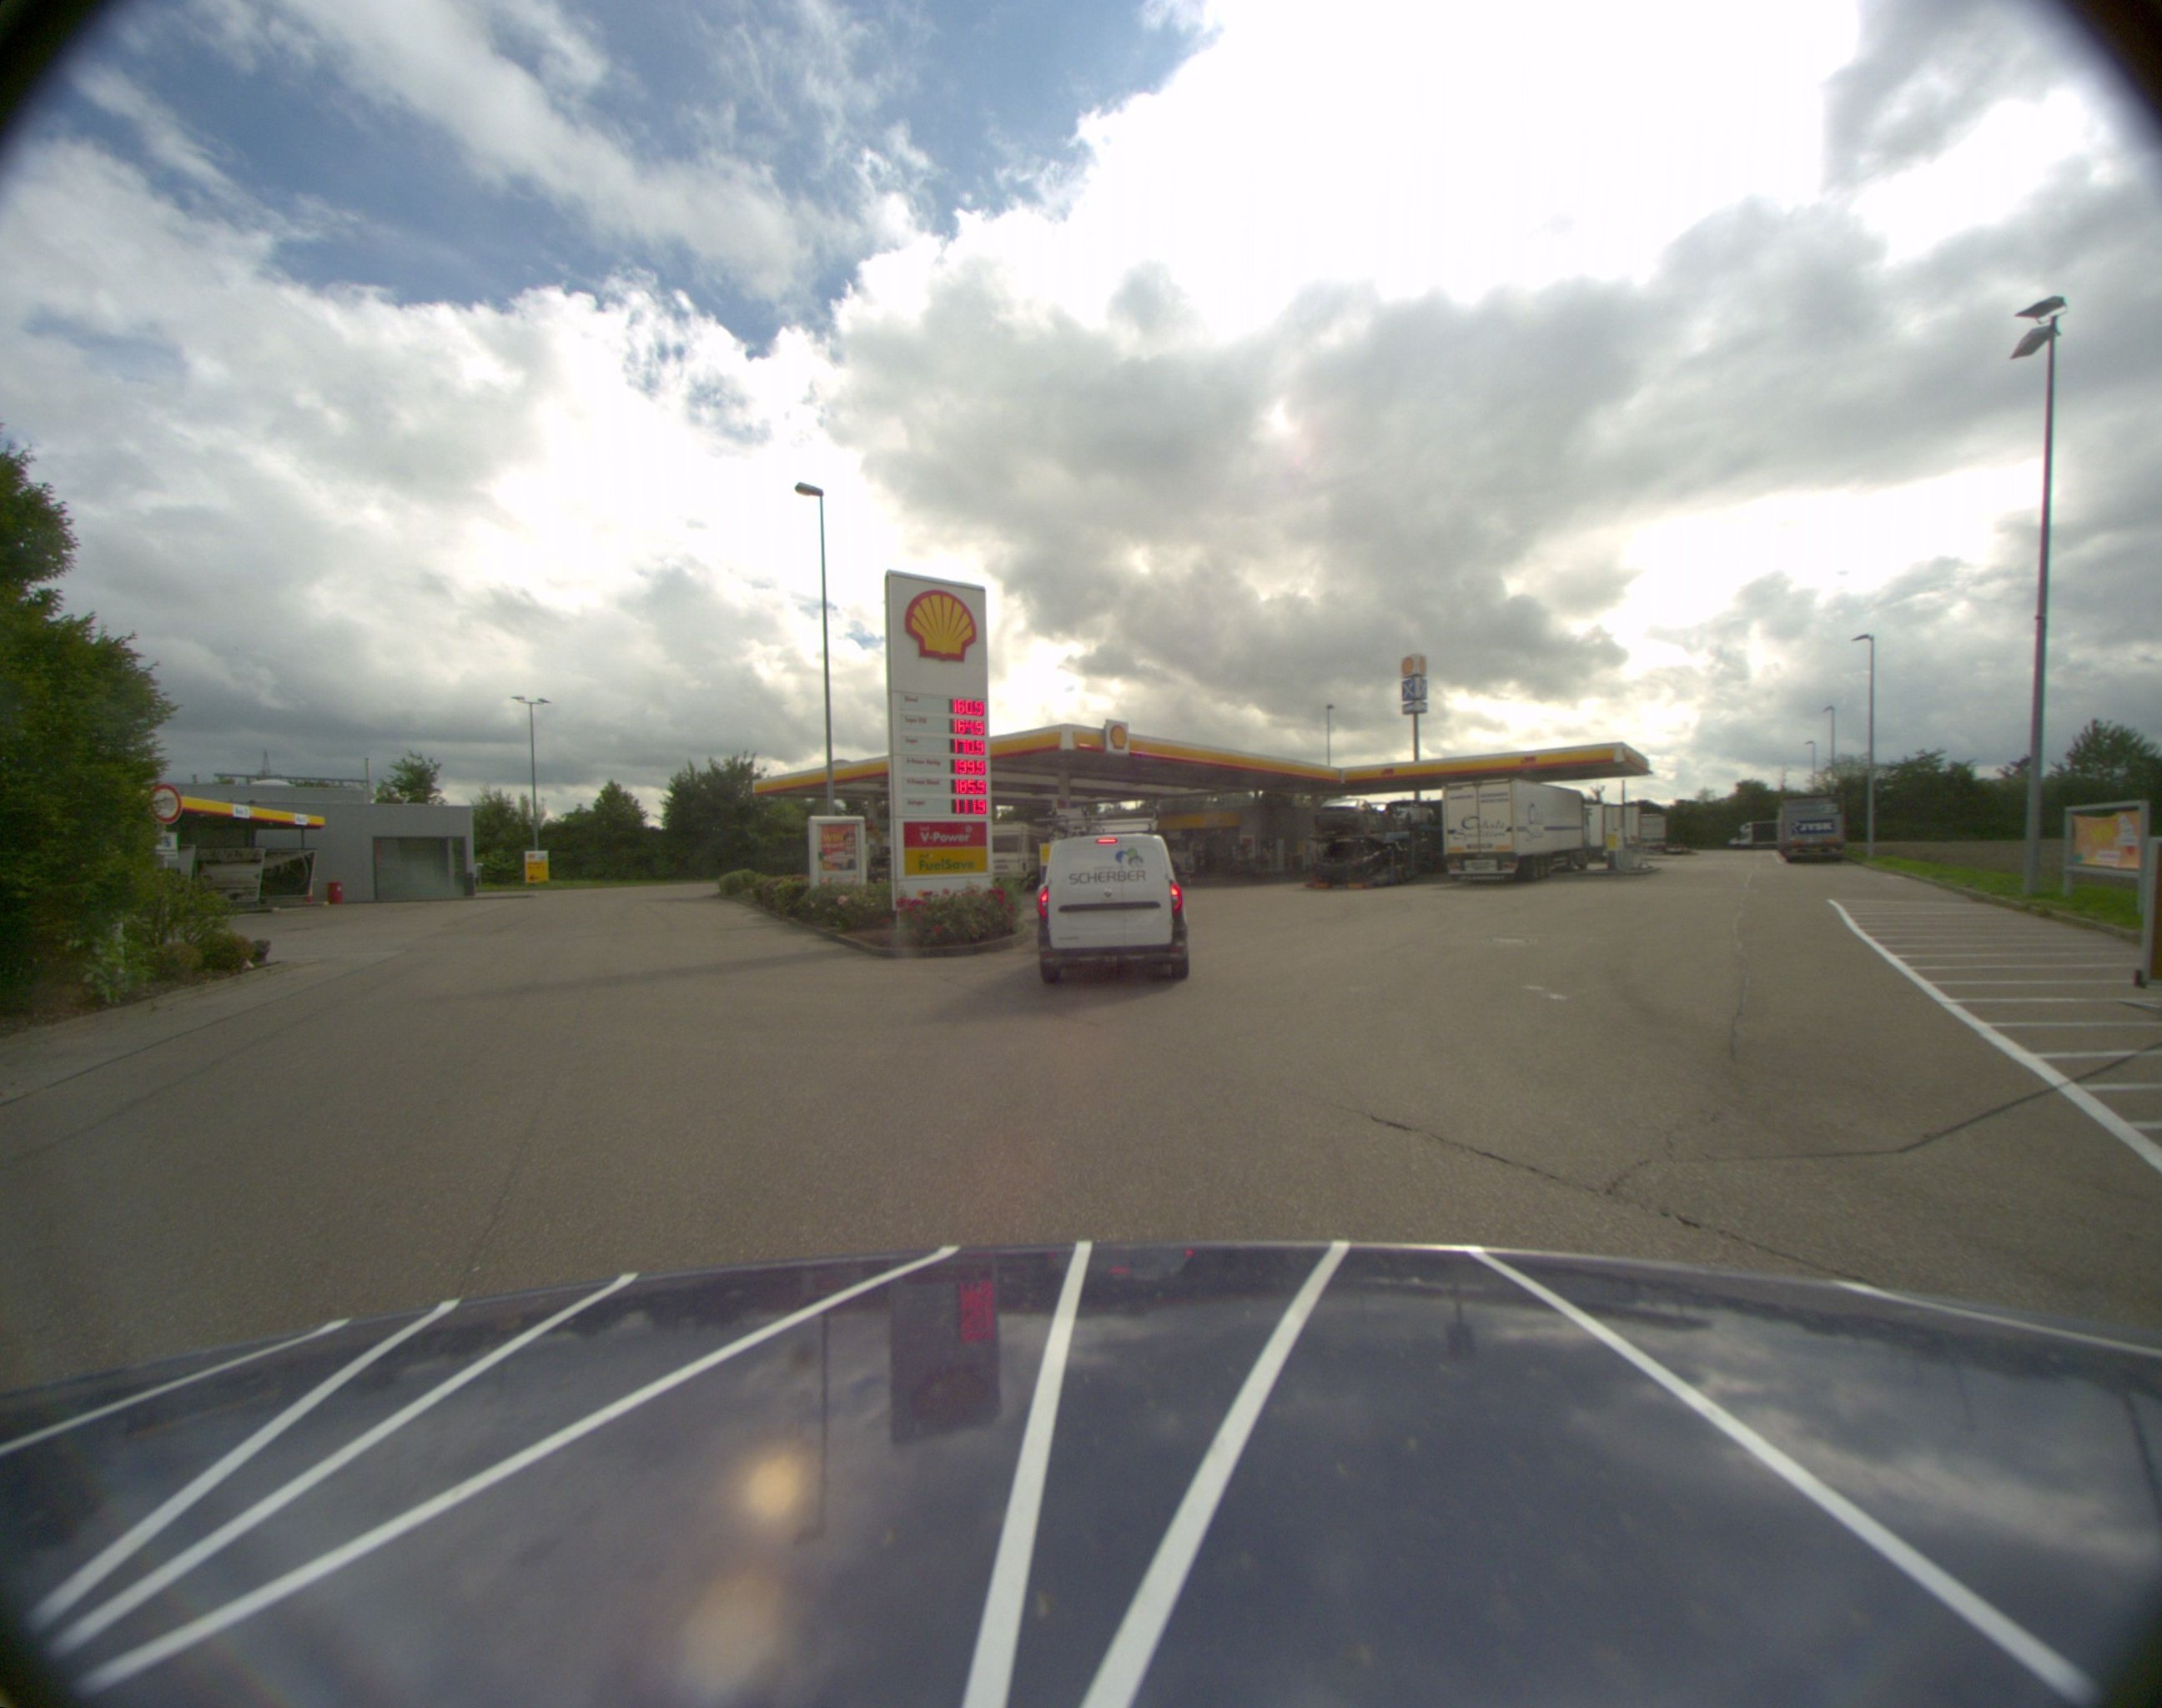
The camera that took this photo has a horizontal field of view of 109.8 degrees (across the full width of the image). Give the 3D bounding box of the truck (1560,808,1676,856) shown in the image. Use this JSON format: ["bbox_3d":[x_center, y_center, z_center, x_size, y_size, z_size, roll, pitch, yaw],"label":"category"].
[{"bbox_3d":[50.664,-1.977,72.303,2.992,4.087,11.575,-2,0,1],"label":"truck"}]

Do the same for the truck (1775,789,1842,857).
[{"bbox_3d":[47.607,-1.915,49.570,2.816,3.871,15.492,0,2,45],"label":"truck"}]

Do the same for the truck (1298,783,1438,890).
[{"bbox_3d":[13.287,-0.780,34.011,2.744,3.901,13.284,0,1,35],"label":"truck"}]

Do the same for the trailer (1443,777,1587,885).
[{"bbox_3d":[19.548,-0.957,33.587,2.705,4.001,12.873,-1,1,42],"label":"trailer"}]

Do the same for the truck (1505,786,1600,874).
[{"bbox_3d":[23.860,-1.163,38.271,2.705,4.001,7.183,-1,1,42],"label":"truck"}]

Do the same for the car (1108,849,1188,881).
[{"bbox_3d":[3.486,0.583,39.827,3.751,1.592,1.720,-2,1,37],"label":"car"}]

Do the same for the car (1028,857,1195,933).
[{"bbox_3d":[0.633,0.888,17.713,3.711,1.538,1.582,-1,1,44],"label":"car"}]

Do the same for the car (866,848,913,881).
[{"bbox_3d":[-9.977,0.508,39.793,1.850,1.565,3.997,-2,0,-7],"label":"car"}]

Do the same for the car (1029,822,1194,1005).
[{"bbox_3d":[0.515,0.678,10.437,1.794,2.000,3.883,-2,0,5],"label":"car"}]

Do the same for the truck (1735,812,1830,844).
[{"bbox_3d":[84.835,-3.051,92.083,2.829,3.635,8.037,-2,1,-35],"label":"truck"}]

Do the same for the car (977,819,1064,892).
[{"bbox_3d":[-2.448,0.045,32.680,2.221,2.770,5.813,-2,0,11],"label":"car"}]

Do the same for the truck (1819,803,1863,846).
[{"bbox_3d":[74.526,-2.808,74.550,2.816,3.871,12.834,0,2,45],"label":"truck"}]

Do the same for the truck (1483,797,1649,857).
[{"bbox_3d":[36.935,-1.953,59.158,2.962,4.089,14.742,-1,1,-3],"label":"truck"}]
